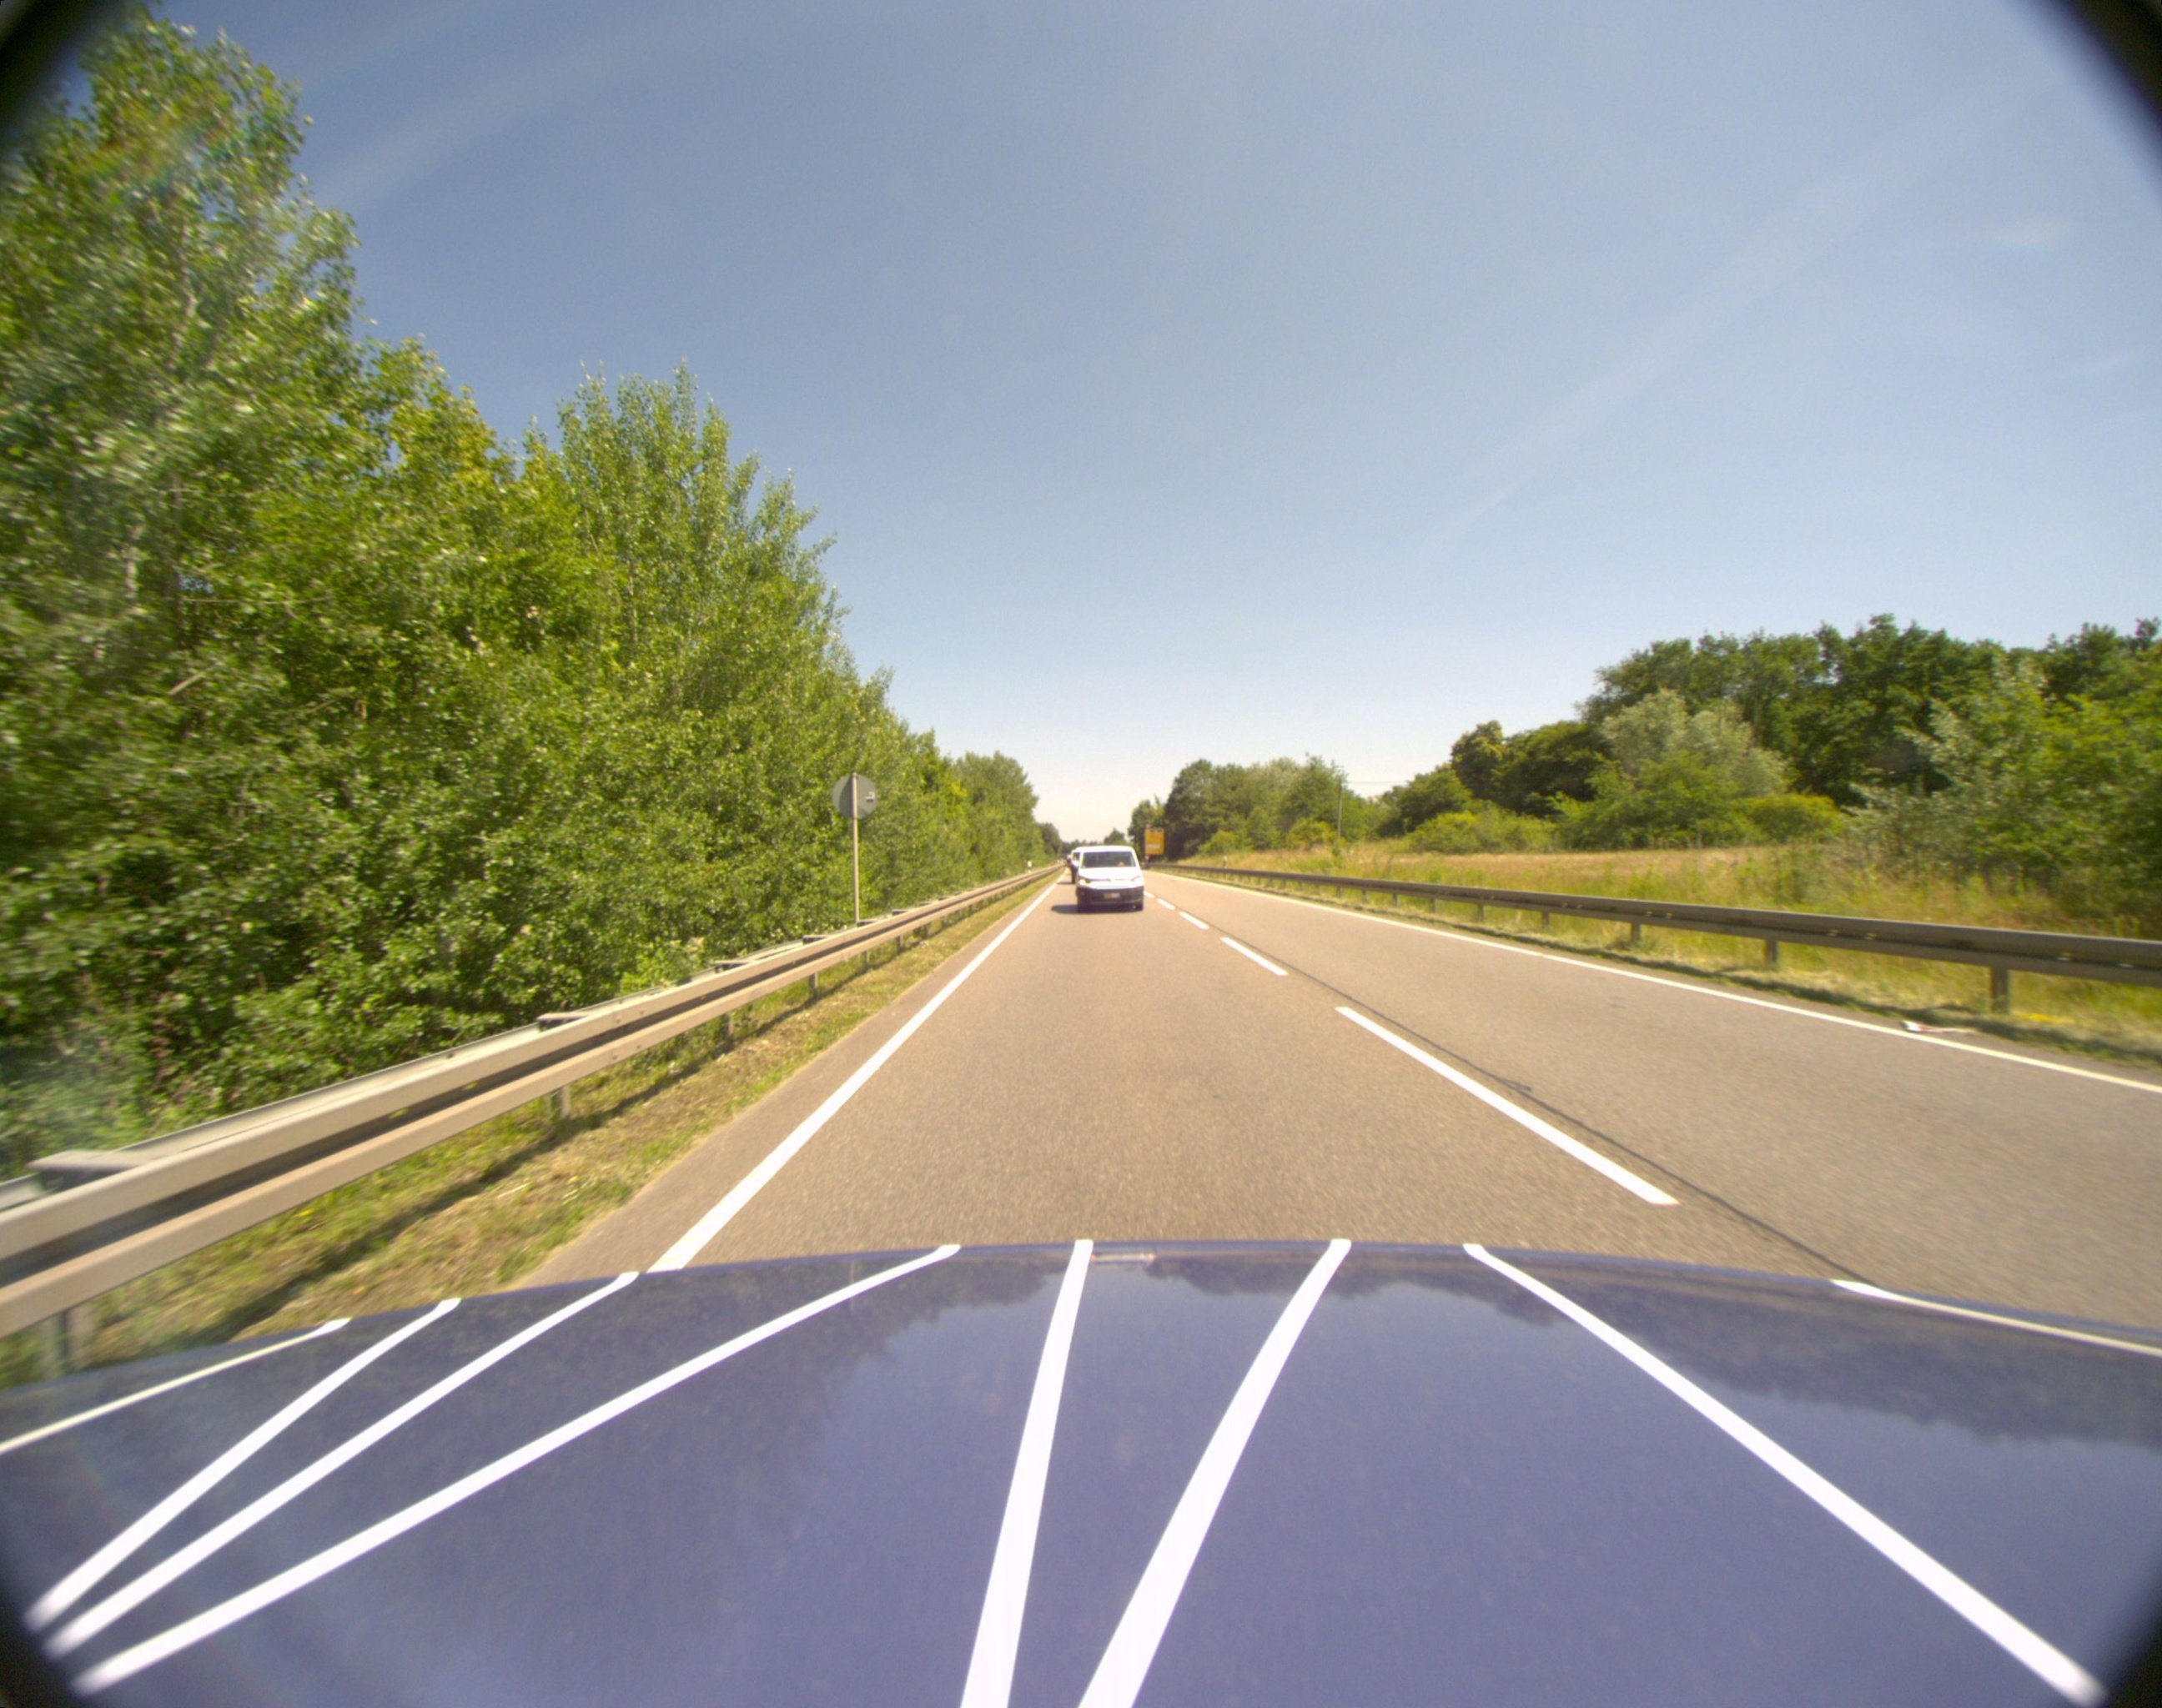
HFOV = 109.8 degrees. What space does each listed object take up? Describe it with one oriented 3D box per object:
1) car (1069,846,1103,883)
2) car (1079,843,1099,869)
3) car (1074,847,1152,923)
[{"bbox_3d":[0.294,0.575,44.063,1.782,1.960,4.105,-2,0,1],"label":"car"},{"bbox_3d":[0.748,0.133,70.679,1.782,2.287,4.105,-2,0,1],"label":"car"},{"bbox_3d":[0.785,0.723,20.238,1.782,1.743,4.512,-2,0,1],"label":"car"}]
